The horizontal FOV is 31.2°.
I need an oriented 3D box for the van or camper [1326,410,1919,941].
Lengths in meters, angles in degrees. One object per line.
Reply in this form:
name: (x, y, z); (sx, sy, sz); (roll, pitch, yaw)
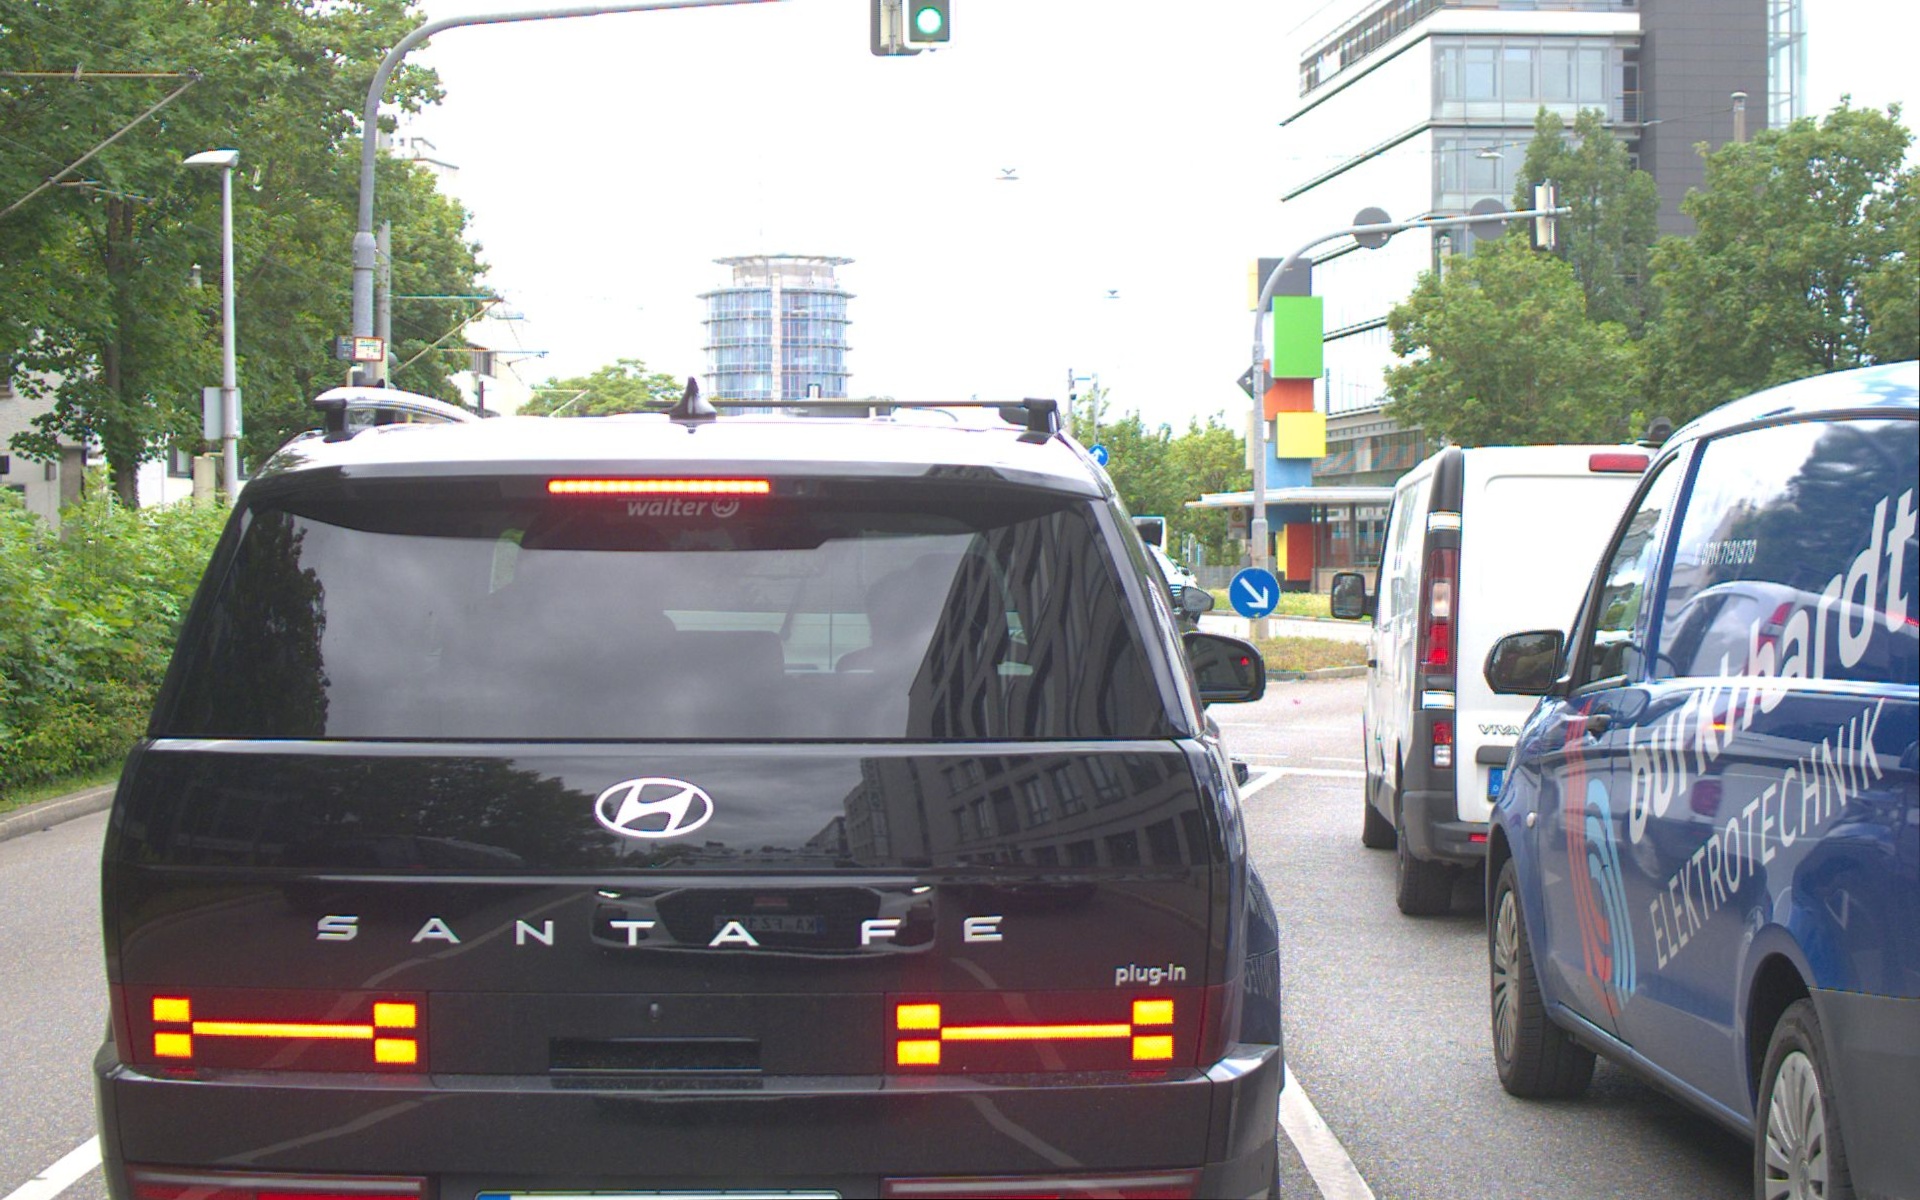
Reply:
van or camper: (2.803, 0.247, 15.451); (1.994, 2.007, 4.652); (1, 1, 2)

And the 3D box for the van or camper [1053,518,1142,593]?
van or camper: (4.857, -1.548, 120.283); (1.994, 2.538, 6.575); (1, 0, 12)

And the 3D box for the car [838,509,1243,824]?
car: (0.606, 0.346, 21.022); (1.777, 1.711, 4.336); (1, 0, 11)

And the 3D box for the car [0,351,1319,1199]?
car: (-0.470, 0.513, 6.577); (1.869, 1.754, 3.880); (0, 1, -1)

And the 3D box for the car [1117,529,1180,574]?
car: (7.201, -1.854, 131.732); (1.993, 1.678, 4.000); (0, 0, -3)

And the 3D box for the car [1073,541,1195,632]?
car: (3.187, -0.252, 63.684); (1.993, 1.612, 4.000); (0, 0, -1)

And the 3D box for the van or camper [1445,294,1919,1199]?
van or camper: (2.395, 0.435, 7.673); (1.859, 1.904, 5.032); (0, 1, -1)

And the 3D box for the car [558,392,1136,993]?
car: (-0.398, 0.276, 13.398); (1.915, 1.996, 3.880); (0, 1, -1)

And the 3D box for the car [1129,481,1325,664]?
car: (3.051, -0.320, 40.061); (1.993, 2.007, 4.000); (0, 0, 1)
